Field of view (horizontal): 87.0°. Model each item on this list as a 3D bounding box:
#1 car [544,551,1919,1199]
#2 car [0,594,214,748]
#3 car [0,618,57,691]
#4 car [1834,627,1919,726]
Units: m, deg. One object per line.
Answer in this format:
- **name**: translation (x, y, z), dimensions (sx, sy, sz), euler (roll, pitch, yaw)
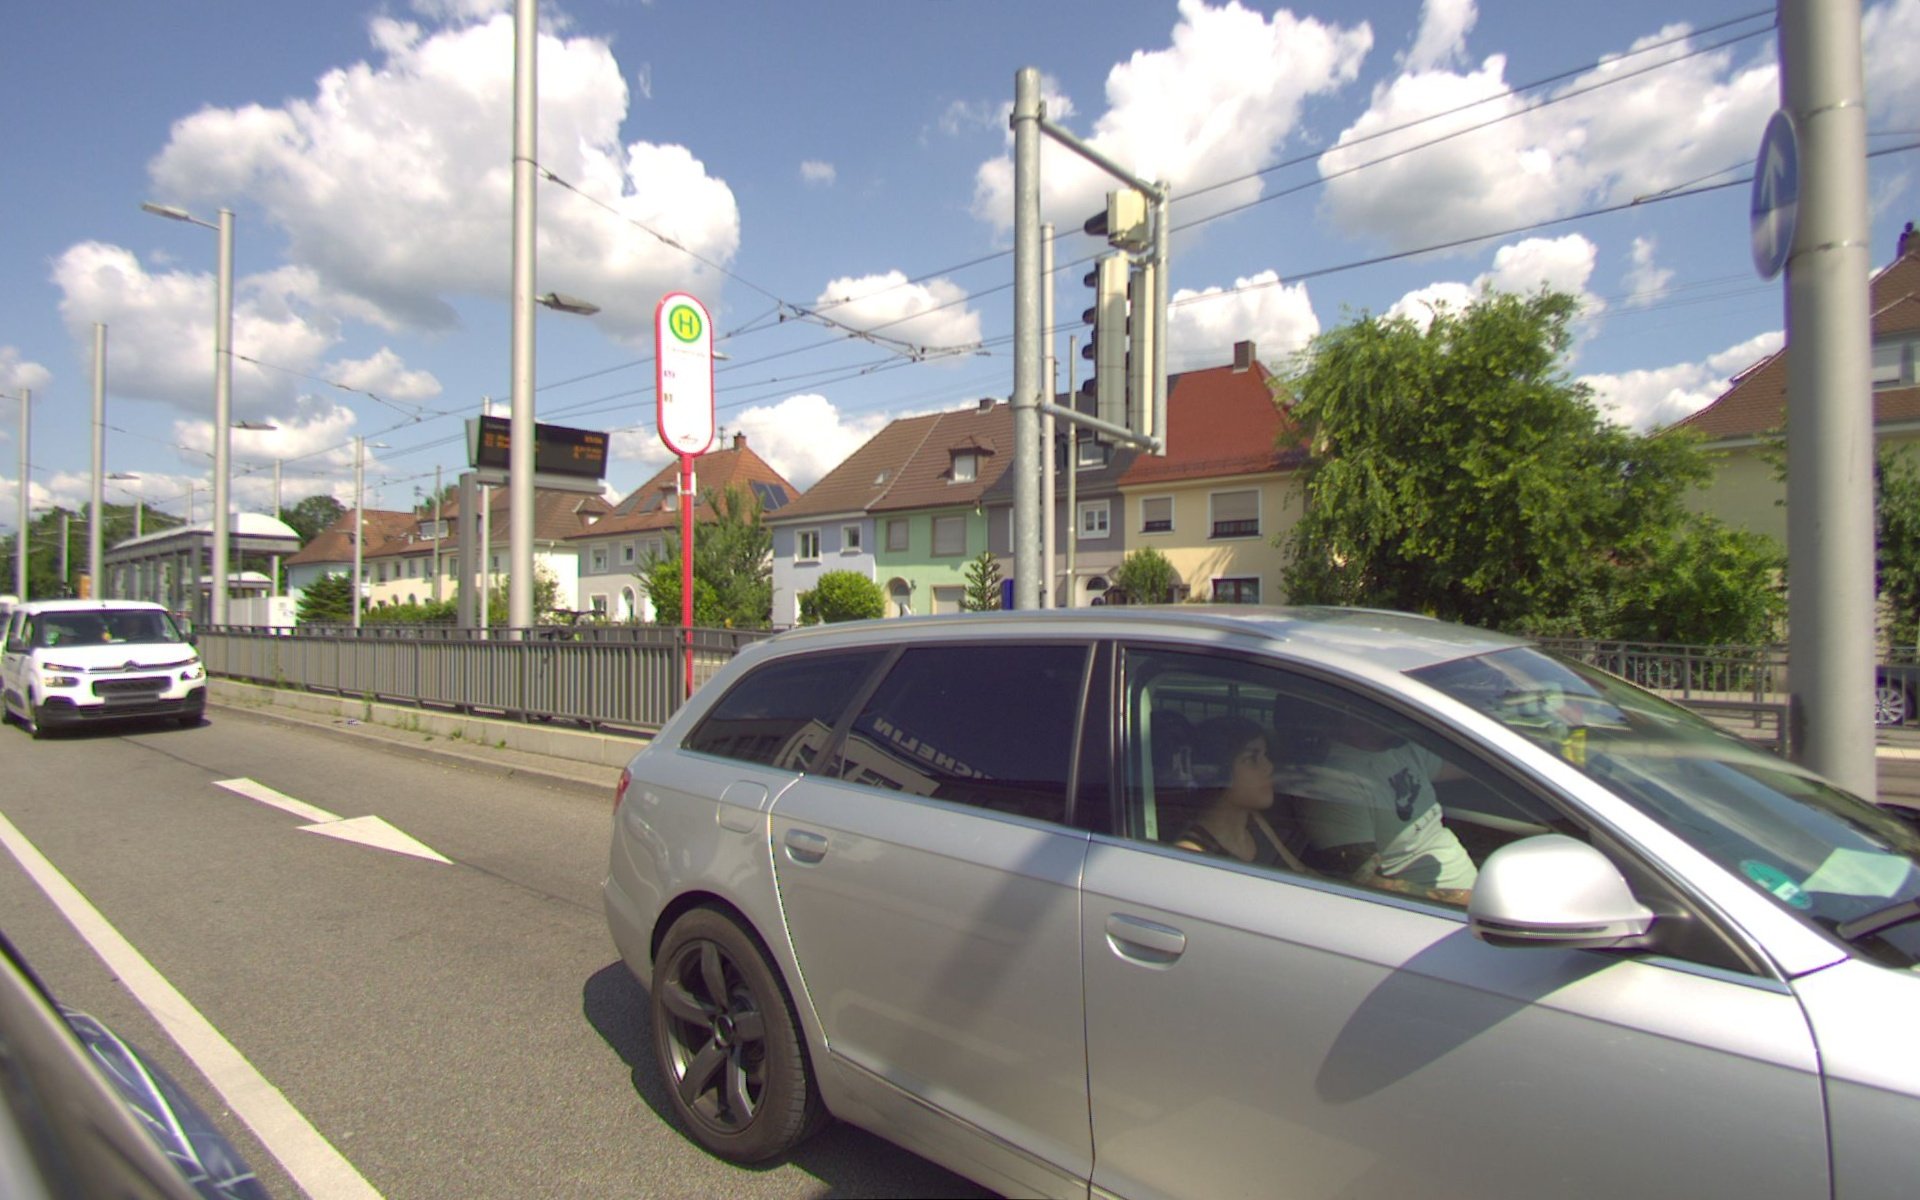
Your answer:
- **car**: translation (1.037, 0.693, 2.340), dimensions (4.719, 1.483, 1.776), euler (-1, 0, 41)
- **car**: translation (-12.131, 0.855, 14.126), dimensions (4.326, 1.829, 1.777), euler (-1, 0, 40)
- **car**: translation (-21.654, 1.197, 22.578), dimensions (3.389, 1.515, 1.660), euler (-1, 0, 38)
- **car**: translation (15.322, 1.112, 14.388), dimensions (4.342, 1.362, 1.667), euler (-1, 0, 40)
